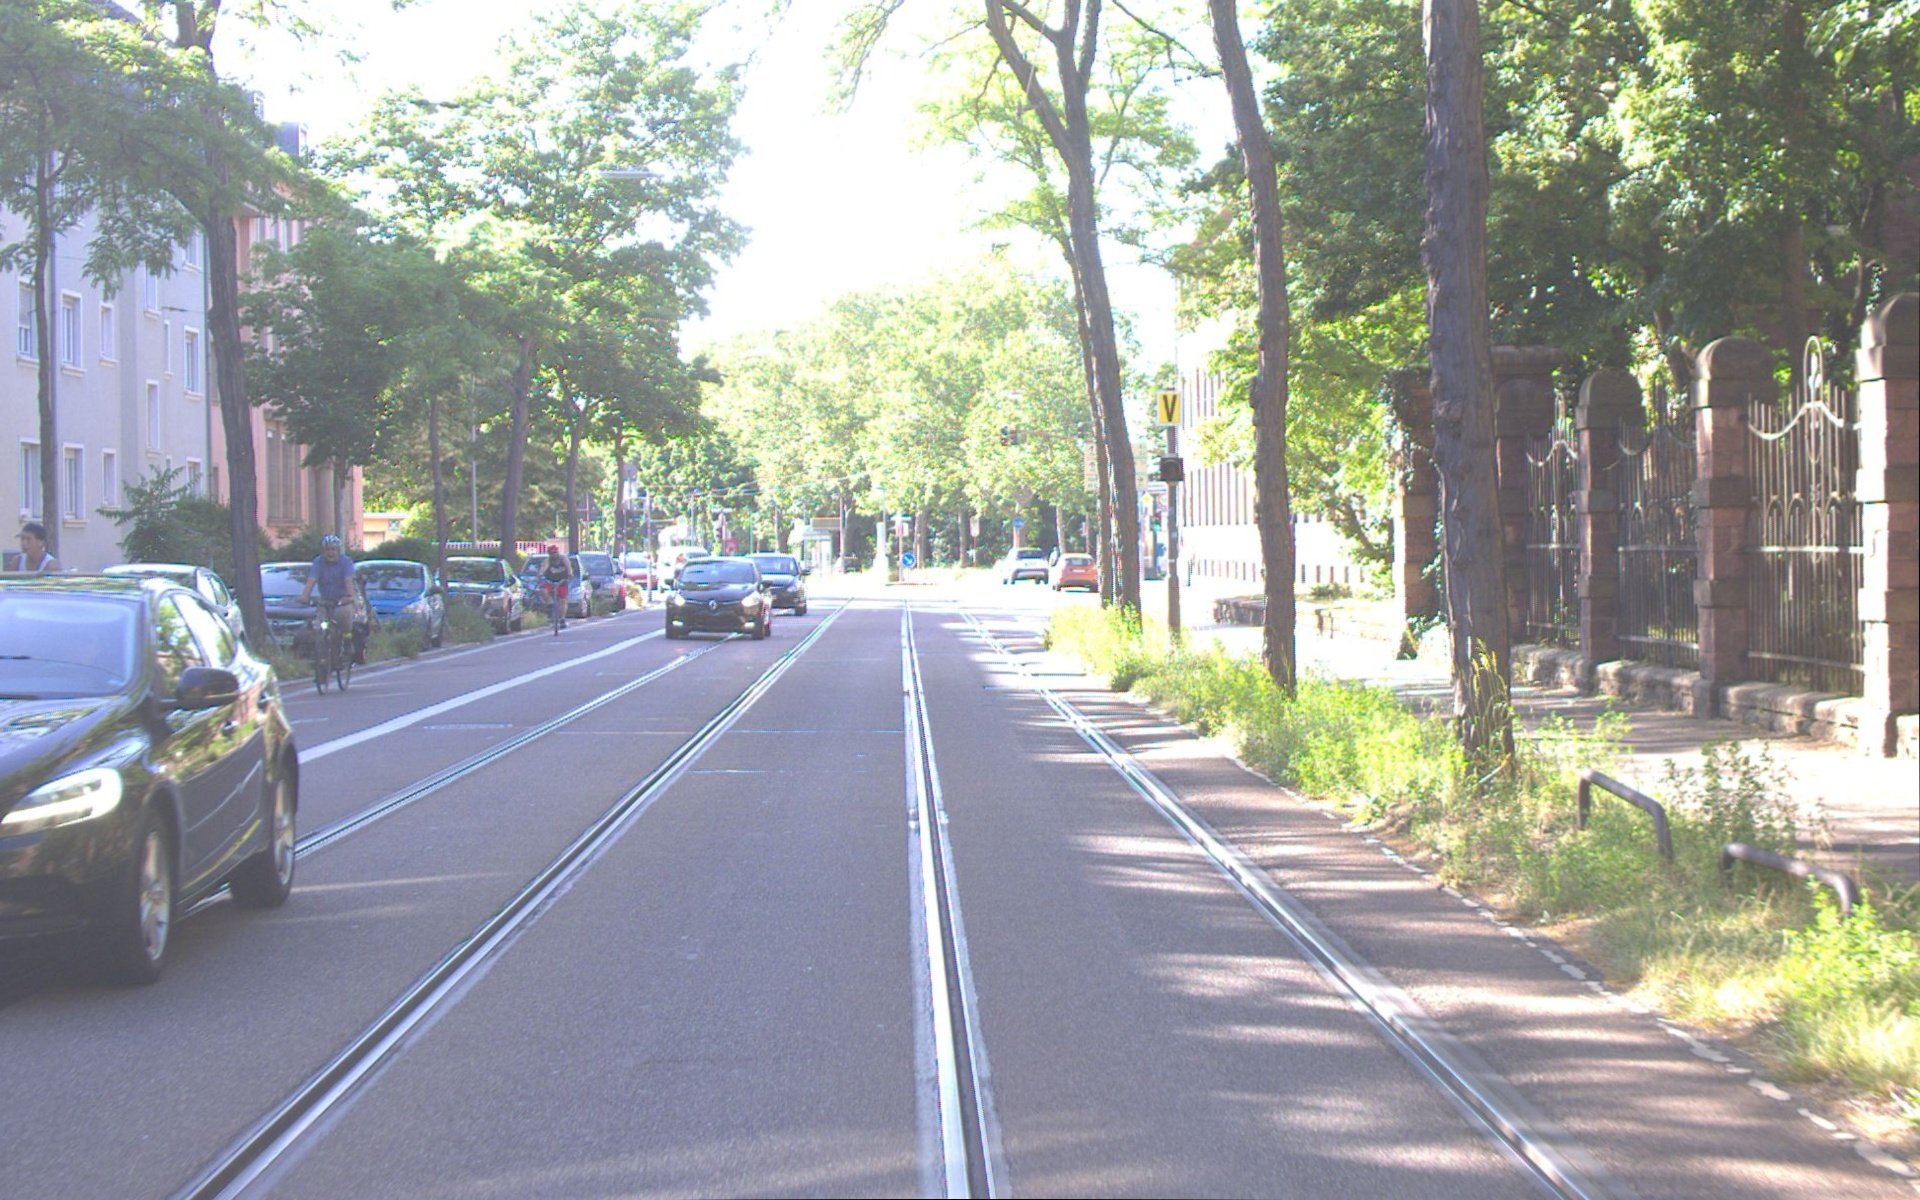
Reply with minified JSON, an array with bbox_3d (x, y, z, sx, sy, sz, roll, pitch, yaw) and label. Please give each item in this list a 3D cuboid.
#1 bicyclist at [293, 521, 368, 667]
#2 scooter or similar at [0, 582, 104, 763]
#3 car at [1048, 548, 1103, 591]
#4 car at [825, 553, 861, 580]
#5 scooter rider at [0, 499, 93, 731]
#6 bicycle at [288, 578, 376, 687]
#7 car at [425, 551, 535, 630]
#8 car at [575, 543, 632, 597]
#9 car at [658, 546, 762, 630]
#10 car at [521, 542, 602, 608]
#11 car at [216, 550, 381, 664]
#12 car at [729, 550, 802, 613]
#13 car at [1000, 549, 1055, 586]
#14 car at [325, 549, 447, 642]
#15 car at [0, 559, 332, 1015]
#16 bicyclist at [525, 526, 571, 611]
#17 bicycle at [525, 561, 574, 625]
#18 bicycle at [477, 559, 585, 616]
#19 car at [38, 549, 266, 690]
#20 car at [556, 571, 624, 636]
[{"bbox_3d":[-7.281,-0.074,39.796,0.626,1.633,0.940,-3,1,-1],"label":"bicyclist"},{"bbox_3d":[-6.934,0.532,25.974,0.520,1.293,1.377,-4,1,-1],"label":"scooter or similar"},{"bbox_3d":[4.531,-1.206,135.169,1.839,1.649,3.580,0,1,-3],"label":"car"},{"bbox_3d":[-7.180,-2.055,210.883,1.942,1.605,4.001,-1,1,-6],"label":"car"},{"bbox_3d":[-6.960,0.105,26.007,0.496,1.694,0.787,-4,1,-1],"label":"scooter rider"},{"bbox_3d":[-7.254,0.359,39.792,0.626,1.173,1.913,-3,1,-1],"label":"bicycle"},{"bbox_3d":[-9.750,-0.218,70.047,1.745,1.485,4.324,2,1,-2],"label":"car"},{"bbox_3d":[-10.344,-0.885,99.887,1.581,1.483,3.613,2,1,-5],"label":"car"},{"bbox_3d":[-4.416,-0.243,61.189,1.699,1.434,4.072,0,1,-2],"label":"car"},{"bbox_3d":[-9.995,-0.645,86.434,1.745,1.564,4.070,2,1,-4],"label":"car"},{"bbox_3d":[-9.335,0.069,48.738,1.687,1.480,3.760,2,1,-2],"label":"car"},{"bbox_3d":[-4.729,-0.464,83.838,1.699,1.466,4.072,0,1,-2],"label":"car"},{"bbox_3d":[2.966,-1.462,152.735,1.942,1.605,4.001,-1,1,-6],"label":"car"},{"bbox_3d":[-9.668,-0.103,58.125,1.560,1.452,3.931,2,1,-3],"label":"car"},{"bbox_3d":[-3.637,0.575,13.263,1.757,1.434,4.524,0,1,-2],"label":"car"},{"bbox_3d":[-7.984,-0.606,66.705,0.709,1.601,0.865,-3,1,-1],"label":"bicyclist"},{"bbox_3d":[-7.955,-0.152,66.652,0.694,1.173,1.913,-3,1,-1],"label":"bicycle"},{"bbox_3d":[-9.578,-0.280,76.795,2.285,1.194,0.559,2,2,6],"label":"bicycle"},{"bbox_3d":[-9.283,0.186,39.801,1.702,1.480,4.079,2,1,-1],"label":"car"},{"bbox_3d":[-10.209,0.082,94.981,1.745,1.655,4.392,2,1,-5],"label":"car"}]
